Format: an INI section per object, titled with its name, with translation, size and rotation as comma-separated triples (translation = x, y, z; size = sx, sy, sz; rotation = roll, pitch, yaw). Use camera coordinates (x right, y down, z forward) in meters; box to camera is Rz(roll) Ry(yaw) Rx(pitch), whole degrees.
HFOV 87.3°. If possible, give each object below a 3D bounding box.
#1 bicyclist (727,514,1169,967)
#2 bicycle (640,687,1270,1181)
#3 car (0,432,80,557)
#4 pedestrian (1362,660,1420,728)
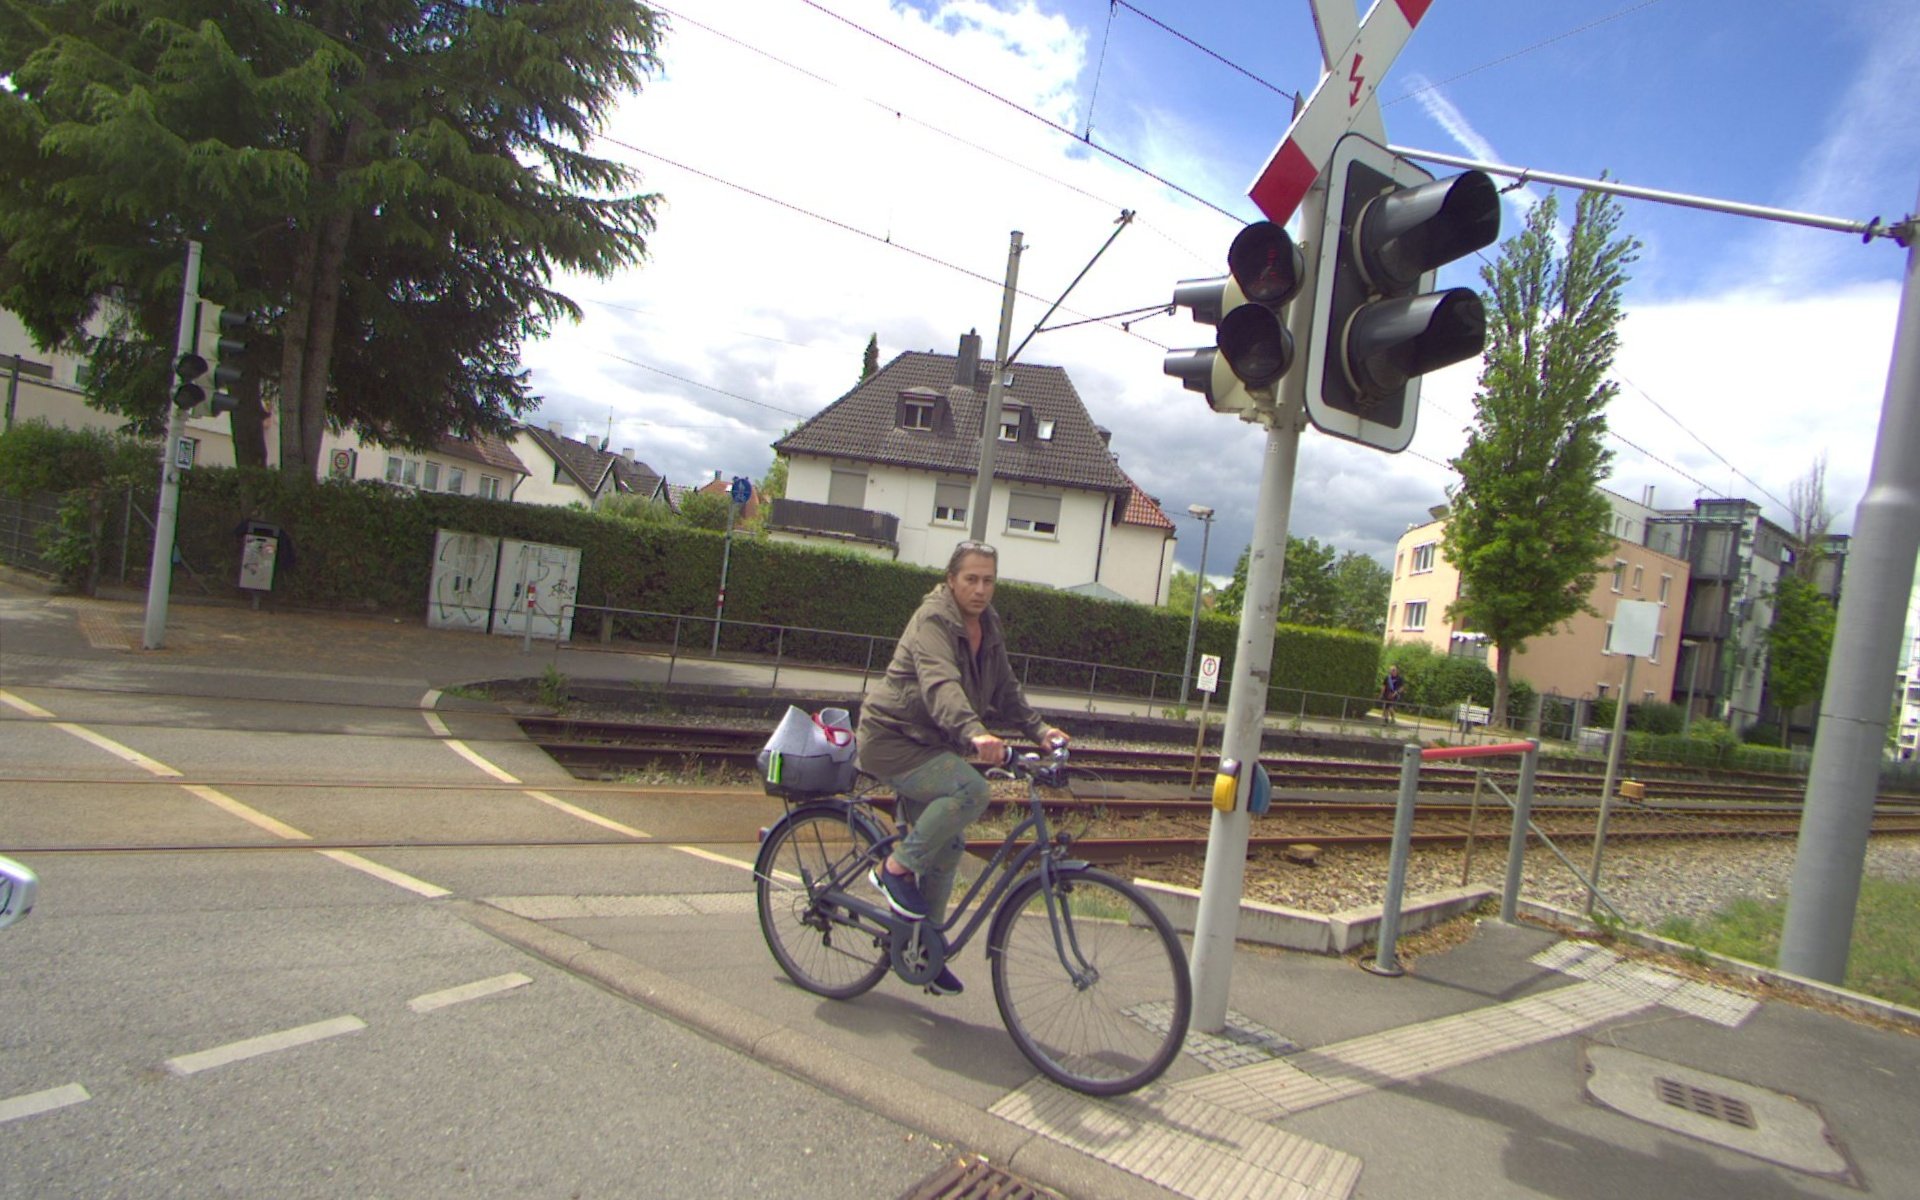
[bicyclist]
translation = -0.015, 0.420, 3.508
size = 1.085, 1.261, 0.934
rotation = 4, -4, 33
[bicycle]
translation = -0.050, 0.947, 3.473
size = 1.884, 1.051, 0.934
rotation = 4, -4, 34
[car]
translation = -22.648, -2.595, 21.043
size = 1.963, 2.613, 6.016
rotation = 8, 0, 19
[pedestrian]
translation = 11.867, 2.592, 27.713
size = 0.910, 1.708, 0.925
rotation = 6, 1, -31
